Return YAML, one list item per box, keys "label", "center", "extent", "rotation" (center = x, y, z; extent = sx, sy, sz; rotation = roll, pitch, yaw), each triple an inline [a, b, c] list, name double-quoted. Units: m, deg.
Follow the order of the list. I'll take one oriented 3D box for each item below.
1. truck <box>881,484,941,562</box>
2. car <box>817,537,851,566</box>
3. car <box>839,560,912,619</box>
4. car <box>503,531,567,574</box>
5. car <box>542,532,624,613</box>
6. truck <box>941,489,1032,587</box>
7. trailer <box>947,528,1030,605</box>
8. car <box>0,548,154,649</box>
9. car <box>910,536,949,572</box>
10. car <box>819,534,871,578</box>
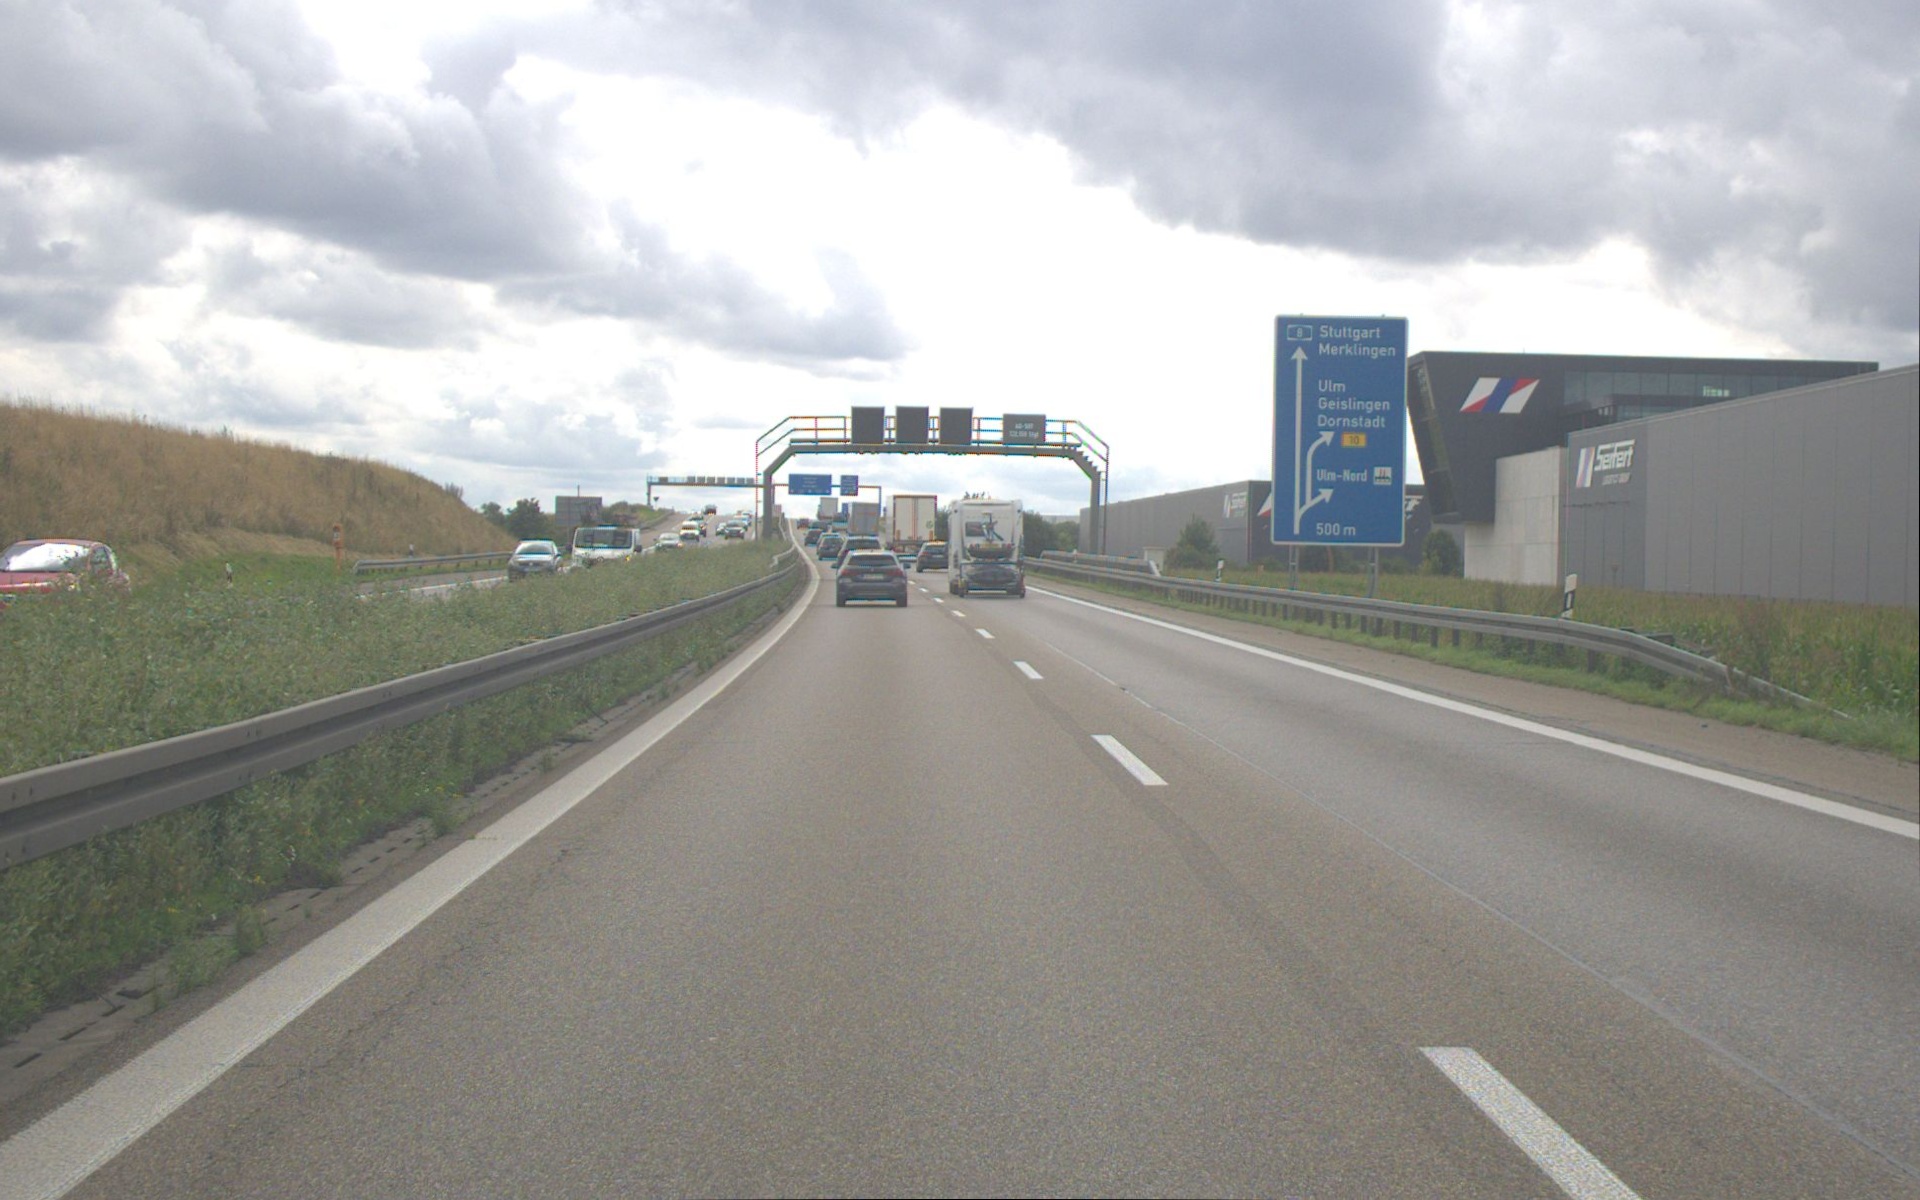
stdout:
- label: "truck"
  center: [-2.998, -4.624, 208.285]
  extent: [3.339, 4.519, 8.018]
  rotation: [1, 0, -2]
- label: "car"
  center: [-7.787, -3.013, 213.044]
  extent: [1.943, 1.769, 3.696]
  rotation: [1, 1, -1]
- label: "car"
  center: [-2.139, -0.278, 87.789]
  extent: [1.746, 1.448, 4.000]
  rotation: [1, 1, 0]
- label: "car"
  center: [-14.750, -1.642, 119.510]
  extent: [1.772, 1.449, 4.000]
  rotation: [1, 1, -1]
- label: "car"
  center: [-11.410, -0.837, 104.394]
  extent: [1.993, 2.340, 5.871]
  rotation: [1, 1, -2]
- label: "truck"
  center: [0.794, -1.921, 107.697]
  extent: [2.482, 2.940, 5.815]
  rotation: [1, 1, -2]
- label: "trailer"
  center: [0.803, -0.970, 99.856]
  extent: [2.338, 2.129, 4.000]
  rotation: [1, 1, 0]
- label: "car"
  center: [-13.138, -0.046, 50.217]
  extent: [1.724, 1.399, 4.342]
  rotation: [1, 1, -1]
- label: "car"
  center: [-1.462, -2.174, 163.677]
  extent: [1.801, 1.679, 4.000]
  rotation: [1, 1, -1]
- label: "car"
  center: [-4.593, -1.747, 137.329]
  extent: [1.945, 1.679, 4.000]
  rotation: [1, 1, 0]
